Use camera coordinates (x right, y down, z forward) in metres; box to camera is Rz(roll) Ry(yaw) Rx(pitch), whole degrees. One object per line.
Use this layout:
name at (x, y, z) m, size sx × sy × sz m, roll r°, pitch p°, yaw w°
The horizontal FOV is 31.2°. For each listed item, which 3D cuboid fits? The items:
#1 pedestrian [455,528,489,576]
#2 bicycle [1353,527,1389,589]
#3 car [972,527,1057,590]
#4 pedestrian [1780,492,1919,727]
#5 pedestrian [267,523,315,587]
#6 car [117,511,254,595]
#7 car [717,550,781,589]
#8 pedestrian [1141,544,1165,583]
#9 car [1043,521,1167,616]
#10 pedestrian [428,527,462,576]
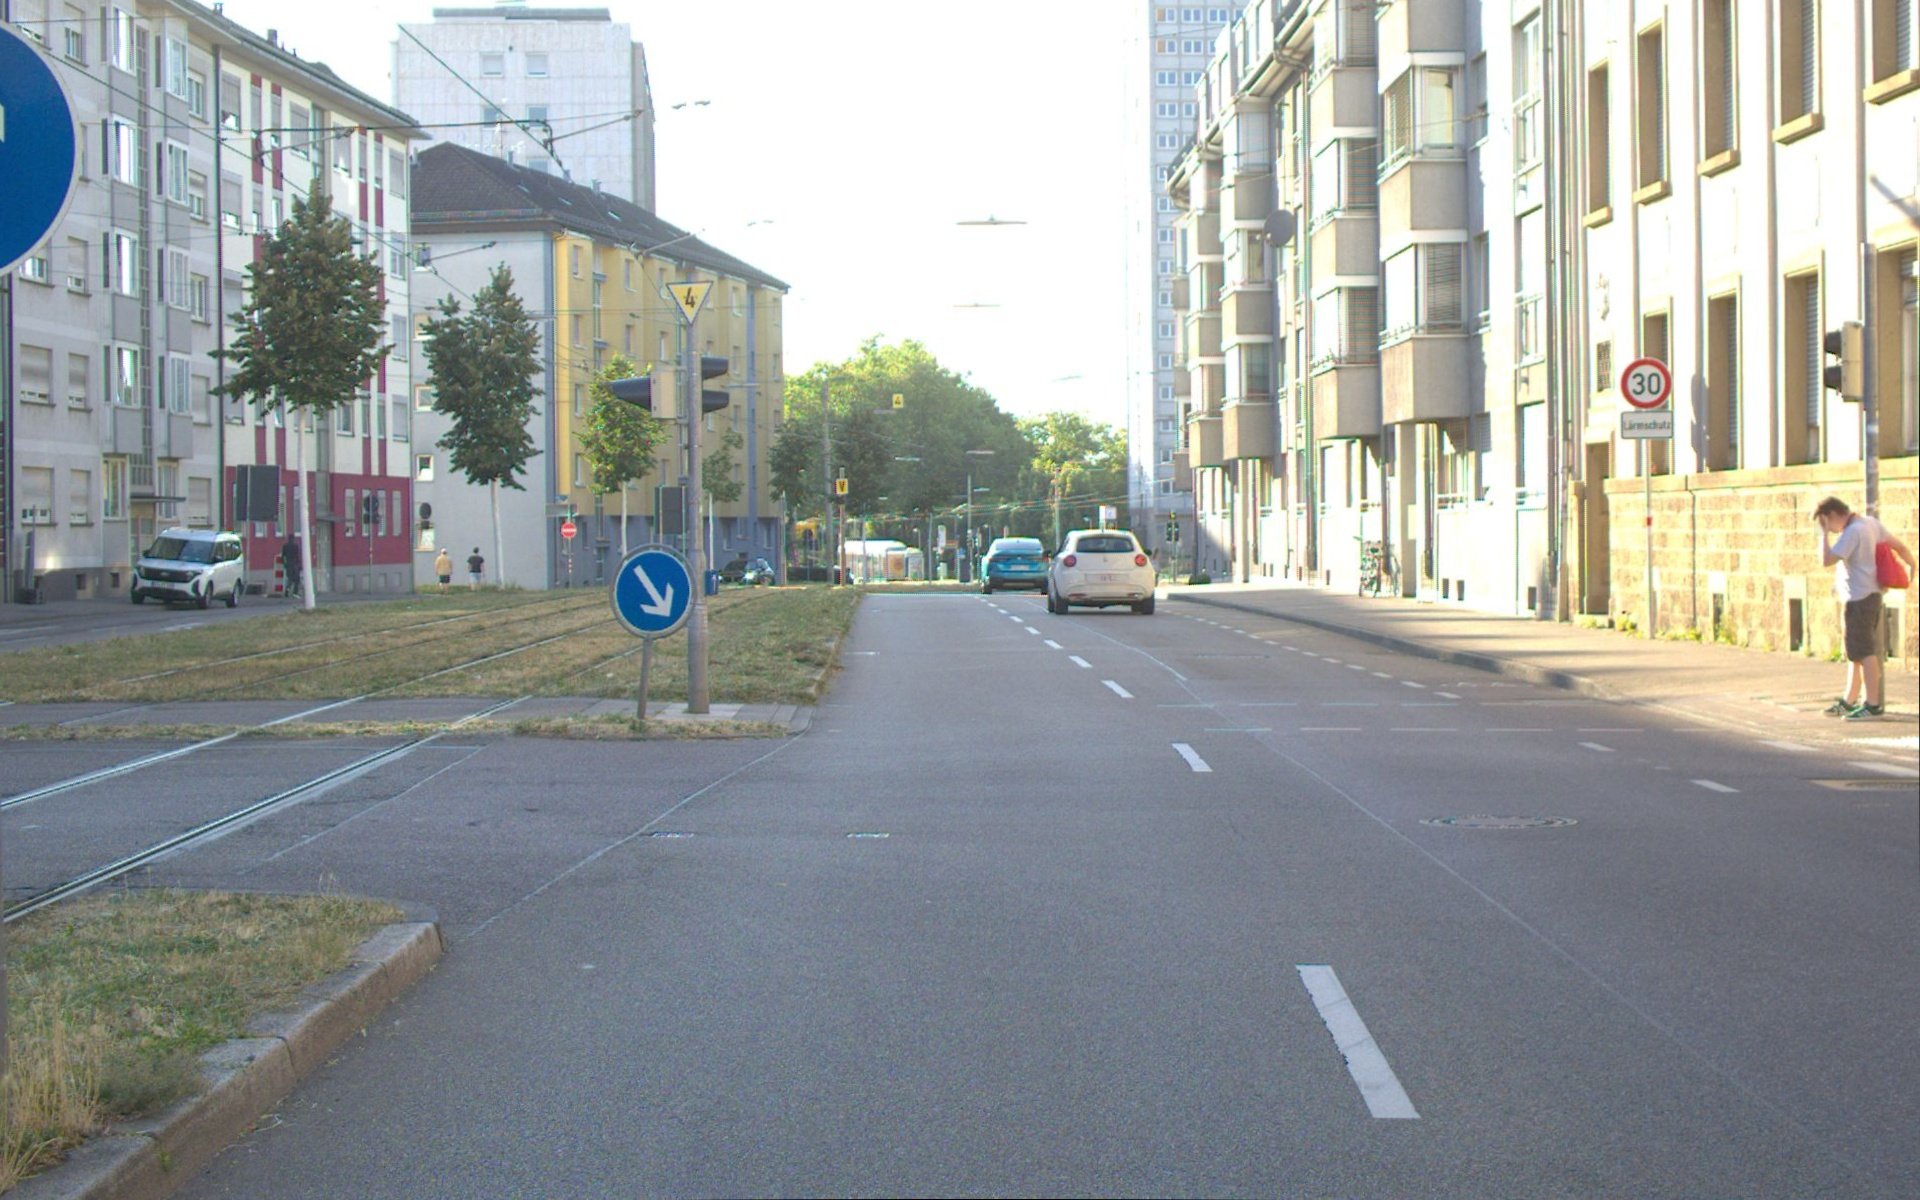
pedestrian at (-17.205, -1.684, 121.126) m, size 0.962 × 1.664 × 1.011 m, roll 1°, pitch 0°, yaw 5°
bicycle at (7.394, -0.756, 61.915) m, size 0.383 × 1.092 × 1.504 m, roll -1°, pitch 1°, yaw -3°
car at (1.371, -1.060, 88.402) m, size 1.993 × 1.549 × 4.394 m, roll 1°, pitch 1°, yaw -1°
pedestrian at (6.785, 0.070, 26.227) m, size 0.835 × 1.756 × 0.824 m, roll 1°, pitch 0°, yaw -1°
pedestrian at (-18.694, -1.263, 96.058) m, size 1.269 × 1.755 × 1.274 m, roll 1°, pitch 0°, yaw -10°
car at (-18.330, -1.106, 81.592) m, size 1.994 × 1.918 × 4.541 m, roll 1°, pitch 1°, yaw 3°
car at (-9.250, -1.351, 150.977) m, size 1.898 × 1.628 × 4.746 m, roll -1°, pitch 1°, yaw 8°
pedestrian at (6.123, -1.150, 109.087) m, size 0.691 × 1.230 × 0.736 m, roll 1°, pitch 0°, yaw 0°
car at (2.481, -0.552, 59.750) m, size 1.993 × 1.558 × 4.000 m, roll 1°, pitch 1°, yaw 1°
pedestrian at (-18.071, -1.690, 120.590) m, size 0.962 × 1.688 × 1.011 m, roll 1°, pitch 0°, yaw 5°
